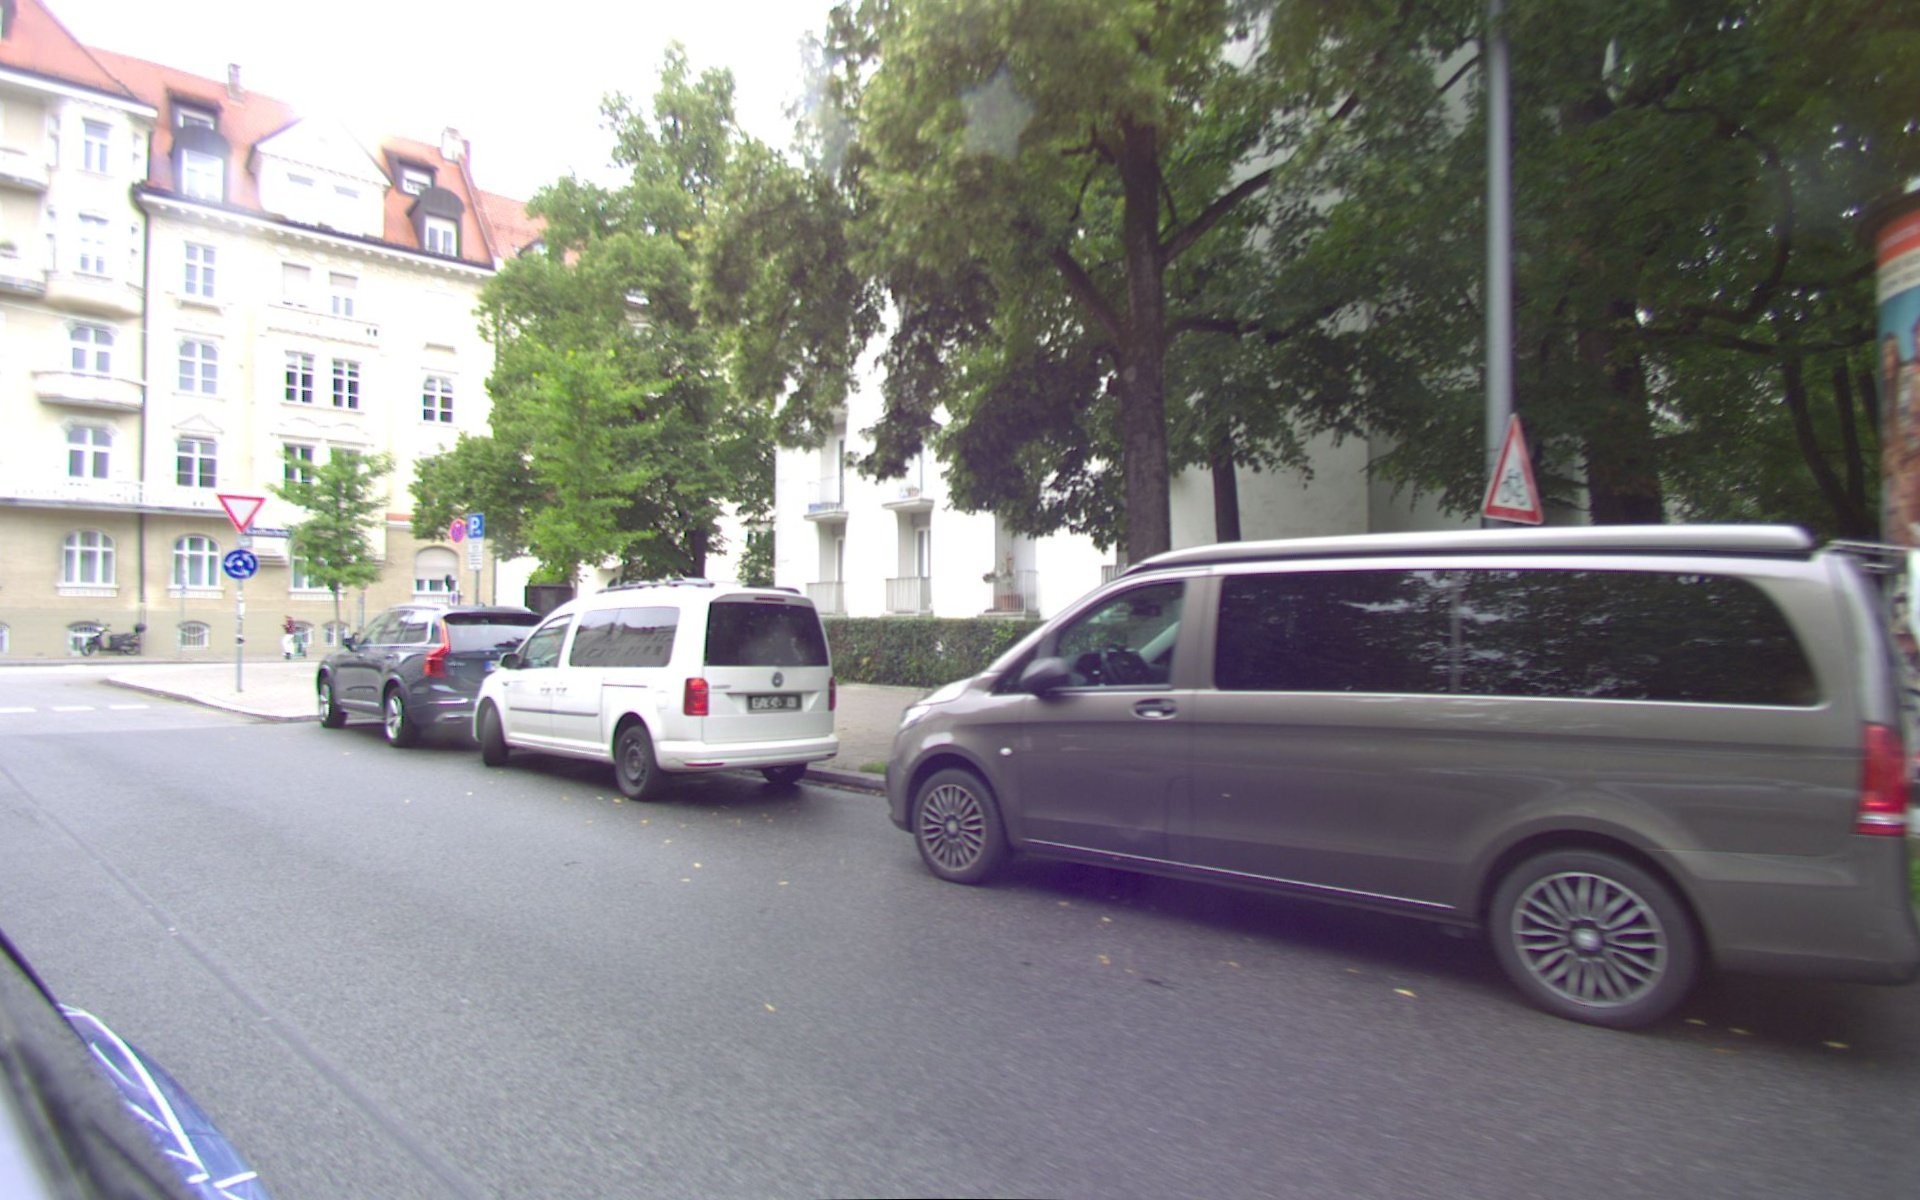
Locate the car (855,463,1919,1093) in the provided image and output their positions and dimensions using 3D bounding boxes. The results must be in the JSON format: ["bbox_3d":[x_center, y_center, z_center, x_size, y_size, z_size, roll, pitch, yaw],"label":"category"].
[{"bbox_3d":[2.058,0.630,5.274,5.455,1.979,1.925,-1,-3,40],"label":"car"}]

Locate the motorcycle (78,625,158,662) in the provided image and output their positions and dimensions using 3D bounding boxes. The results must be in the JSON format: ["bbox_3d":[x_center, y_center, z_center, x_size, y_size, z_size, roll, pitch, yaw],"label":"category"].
[{"bbox_3d":[-31.658,1.631,38.069,2.212,1.336,0.824,2,-2,-44],"label":"motorcycle"}]

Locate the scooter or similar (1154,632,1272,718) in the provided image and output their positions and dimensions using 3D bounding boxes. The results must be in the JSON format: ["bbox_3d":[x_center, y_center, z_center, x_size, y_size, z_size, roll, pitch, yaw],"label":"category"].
[{"bbox_3d":[3.583,1.035,14.408,1.563,1.126,0.535,0,-1,41],"label":"scooter or similar"}]

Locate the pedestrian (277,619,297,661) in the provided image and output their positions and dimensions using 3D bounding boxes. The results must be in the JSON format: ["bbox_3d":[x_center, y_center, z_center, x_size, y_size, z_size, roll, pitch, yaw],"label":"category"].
[{"bbox_3d":[-27.480,1.637,41.325,0.597,1.677,0.464,2,-1,-37],"label":"pedestrian"}]

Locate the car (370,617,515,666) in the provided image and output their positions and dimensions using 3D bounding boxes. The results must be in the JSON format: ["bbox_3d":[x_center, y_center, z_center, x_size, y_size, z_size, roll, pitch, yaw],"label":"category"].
[{"bbox_3d":[-21.418,1.719,42.027,4.953,1.880,2.169,3,-2,-42],"label":"car"}]

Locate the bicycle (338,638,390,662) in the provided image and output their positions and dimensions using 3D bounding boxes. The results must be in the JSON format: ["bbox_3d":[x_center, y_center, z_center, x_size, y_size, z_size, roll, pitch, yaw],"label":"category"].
[{"bbox_3d":[-24.561,2.050,41.727,1.782,0.964,0.468,2,-1,-39],"label":"bicycle"}]

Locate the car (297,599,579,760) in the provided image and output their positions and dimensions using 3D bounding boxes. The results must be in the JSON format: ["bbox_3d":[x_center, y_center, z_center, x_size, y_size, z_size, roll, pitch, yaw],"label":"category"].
[{"bbox_3d":[-7.170,0.896,13.613,5.061,1.781,1.858,0,-1,45],"label":"car"}]

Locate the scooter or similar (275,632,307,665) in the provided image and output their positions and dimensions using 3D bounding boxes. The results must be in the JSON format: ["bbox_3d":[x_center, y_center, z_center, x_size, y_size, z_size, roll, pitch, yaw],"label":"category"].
[{"bbox_3d":[-25.580,1.841,38.695,0.403,1.239,1.279,1,-1,-3],"label":"scooter or similar"}]

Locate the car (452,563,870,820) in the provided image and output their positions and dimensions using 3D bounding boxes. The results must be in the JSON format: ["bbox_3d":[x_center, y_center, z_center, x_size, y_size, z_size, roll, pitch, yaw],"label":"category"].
[{"bbox_3d":[-3.185,0.782,10.091,4.834,1.952,1.858,-2,-4,44],"label":"car"}]
